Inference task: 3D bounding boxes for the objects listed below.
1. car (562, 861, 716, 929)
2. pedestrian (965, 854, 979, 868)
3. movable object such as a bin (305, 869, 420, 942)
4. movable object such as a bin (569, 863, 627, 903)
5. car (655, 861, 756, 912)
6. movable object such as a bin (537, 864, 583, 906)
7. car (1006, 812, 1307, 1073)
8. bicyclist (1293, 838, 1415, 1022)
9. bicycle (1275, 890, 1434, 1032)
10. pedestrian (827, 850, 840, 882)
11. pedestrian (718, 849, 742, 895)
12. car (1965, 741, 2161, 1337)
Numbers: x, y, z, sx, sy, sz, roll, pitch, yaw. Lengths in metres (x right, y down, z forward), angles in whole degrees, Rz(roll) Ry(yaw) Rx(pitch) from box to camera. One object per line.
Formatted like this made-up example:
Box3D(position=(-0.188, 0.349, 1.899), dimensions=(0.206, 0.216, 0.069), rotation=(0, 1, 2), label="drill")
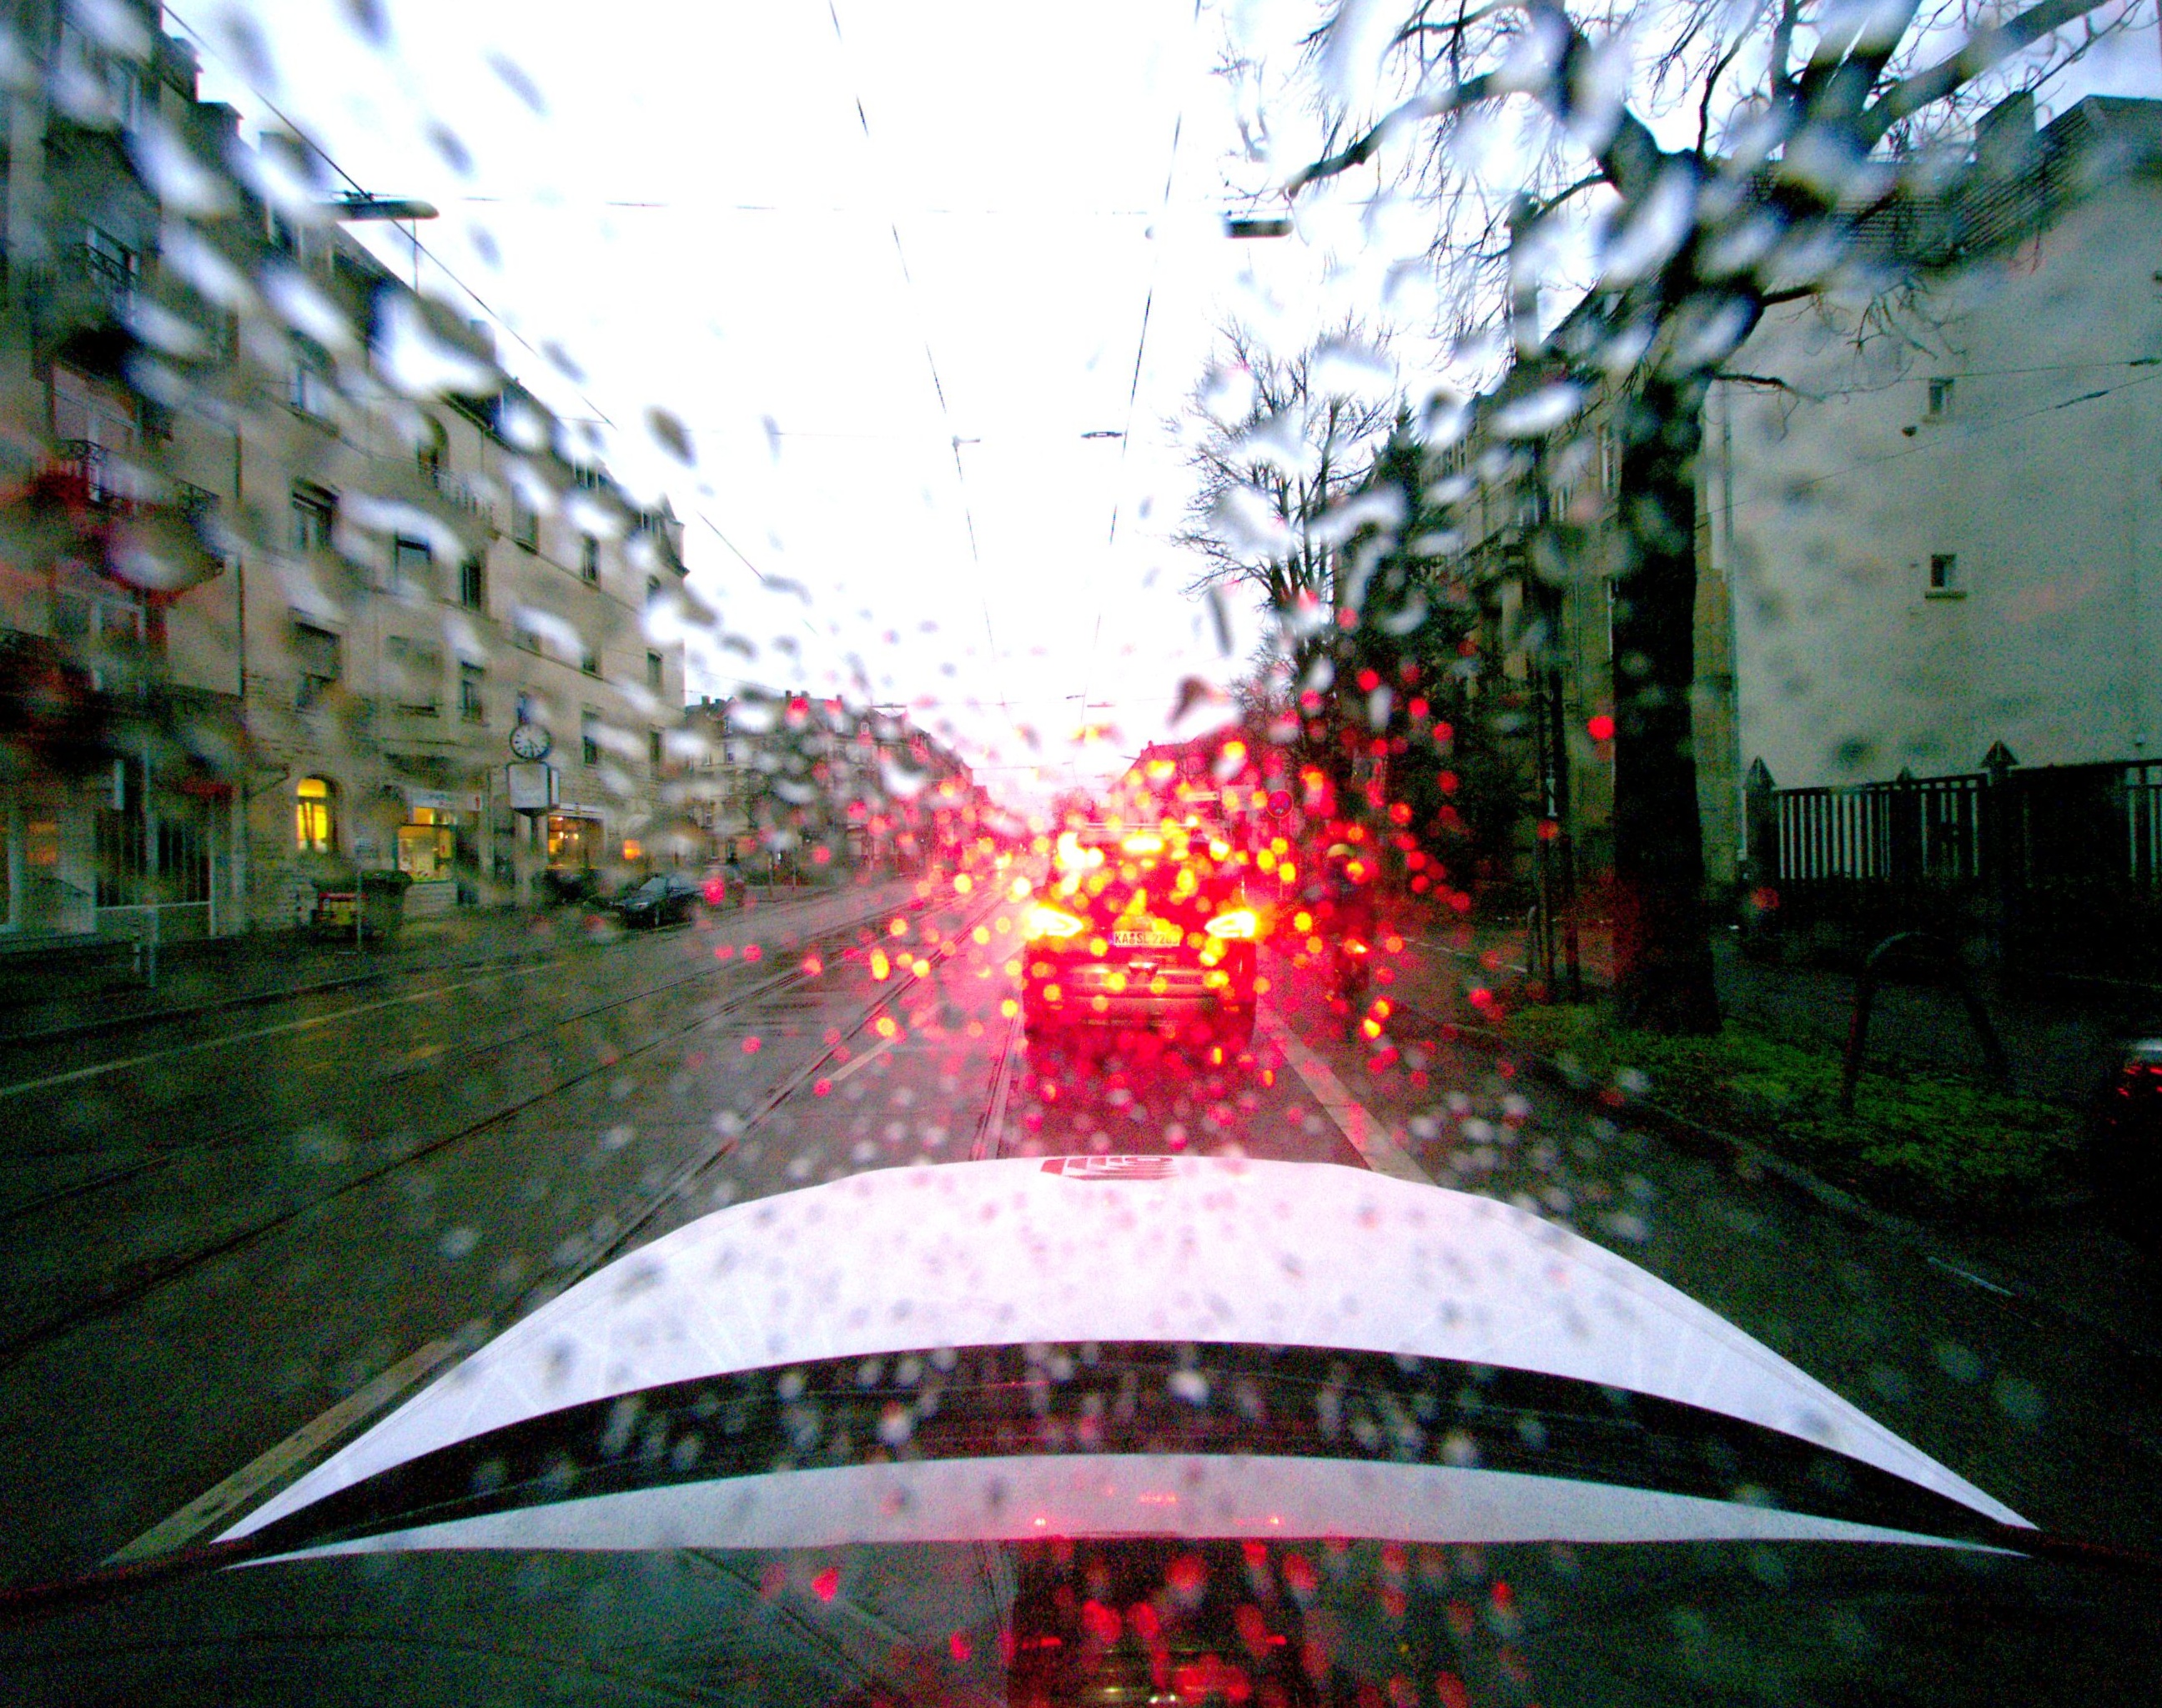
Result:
Box3D(position=(-12.353, 1.077, 23.174), dimensions=(1.982, 1.645, 4.624), rotation=(3, -1, -4), label="car")
Box3D(position=(-9.208, 0.578, 68.990), dimensions=(1.044, 1.200, 0.884), rotation=(-1, -1, -1), label="pedestrian")
Box3D(position=(-14.991, 1.052, 17.036), dimensions=(1.264, 1.420, 1.249), rotation=(-1, 0, -1), label="movable object such as a bin")
Box3D(position=(-17.180, 1.016, 28.987), dimensions=(1.290, 1.367, 1.251), rotation=(-1, 0, -2), label="movable object such as a bin")
Box3D(position=(-13.213, 1.108, 28.951), dimensions=(2.035, 1.551, 4.022), rotation=(2, 0, -7), label="car")
Box3D(position=(-17.717, 1.032, 27.699), dimensions=(0.896, 1.377, 1.006), rotation=(-1, 0, -2), label="movable object such as a bin")
Box3D(position=(0.556, 0.615, 8.028), dimensions=(2.096, 1.816, 4.660), rotation=(0, 0, 0), label="car")
Box3D(position=(2.634, 0.699, 7.966), dimensions=(0.716, 1.662, 1.054), rotation=(2, 0, -6), label="bicyclist")
Box3D(position=(2.614, 0.977, 8.051), dimensions=(0.716, 1.112, 1.937), rotation=(3, 0, -6), label="bicycle")
Box3D(position=(-15.569, 0.756, 51.135), dimensions=(0.707, 2.013, 0.656), rotation=(-1, 0, -21), label="pedestrian")
Box3D(position=(-15.594, 0.801, 36.177), dimensions=(0.748, 2.014, 0.652), rotation=(-1, -1, 34), label="pedestrian")
Box3D(position=(4.453, 0.557, 0.641), dimensions=(2.025, 1.875, 4.960), rotation=(-2, 0, -2), label="car")
